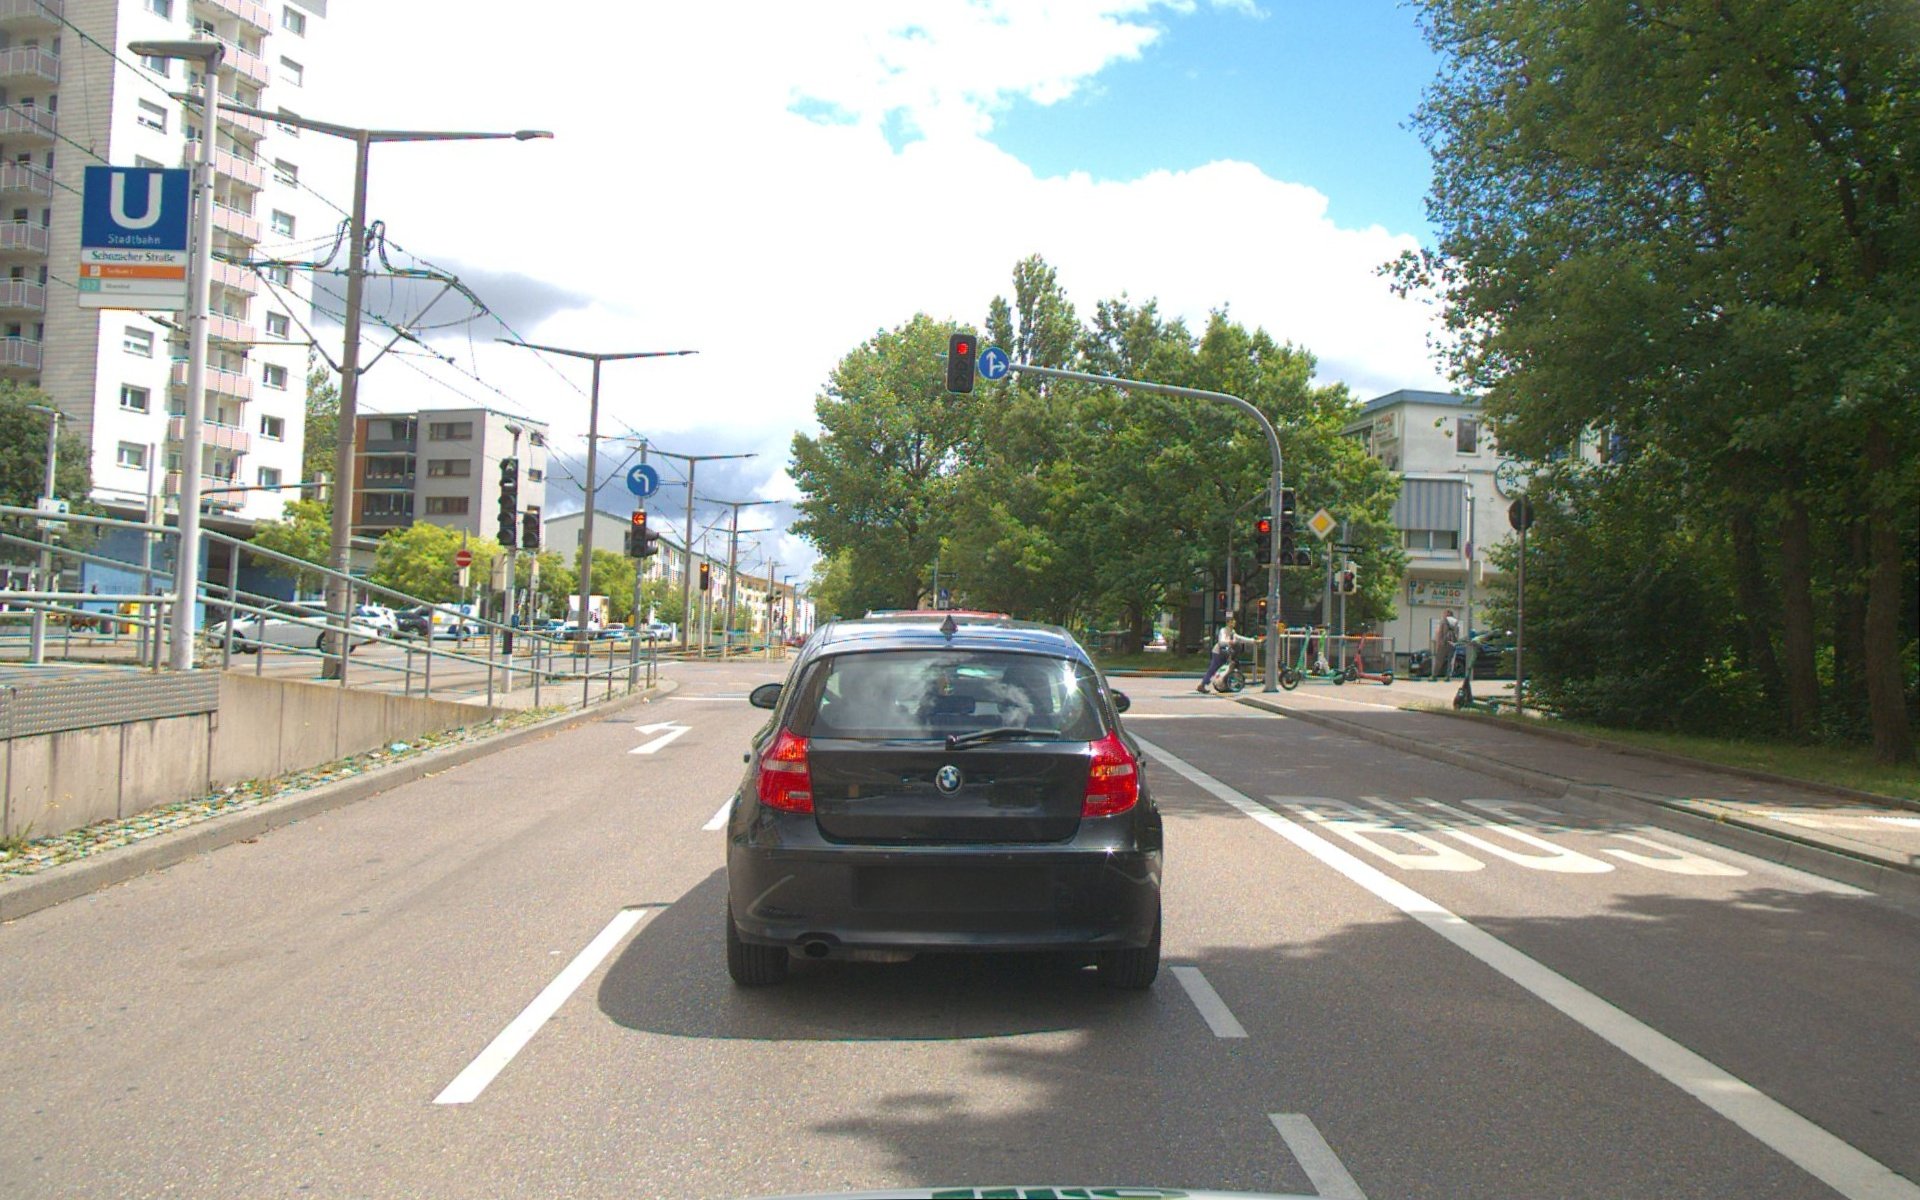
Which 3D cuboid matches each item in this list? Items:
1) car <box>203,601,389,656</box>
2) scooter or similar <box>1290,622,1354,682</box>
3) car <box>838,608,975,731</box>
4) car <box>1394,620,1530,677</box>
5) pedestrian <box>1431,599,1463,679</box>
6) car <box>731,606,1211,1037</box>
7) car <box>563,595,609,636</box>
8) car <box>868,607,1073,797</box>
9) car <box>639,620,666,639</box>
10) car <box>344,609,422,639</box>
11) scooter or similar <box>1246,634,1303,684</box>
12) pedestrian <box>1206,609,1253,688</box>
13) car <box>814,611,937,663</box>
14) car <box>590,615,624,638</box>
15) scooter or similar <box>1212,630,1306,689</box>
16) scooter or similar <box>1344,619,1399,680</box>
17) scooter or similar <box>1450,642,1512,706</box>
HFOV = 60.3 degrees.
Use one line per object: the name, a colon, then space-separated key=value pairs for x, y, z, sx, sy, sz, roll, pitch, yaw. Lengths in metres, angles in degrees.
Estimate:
car: x=-18.924 y=0.805 z=47.330 sx=4.551 sy=1.506 sz=1.997 roll=1 pitch=0 yaw=-7
scooter or similar: x=7.442 y=1.066 z=33.990 sx=1.267 sy=1.210 sz=0.383 roll=1 pitch=-1 yaw=-17
car: x=-0.709 y=0.838 z=21.545 sx=1.621 sy=1.443 sz=3.515 roll=1 pitch=0 yaw=-2
car: x=14.969 y=1.449 z=49.378 sx=3.515 sy=1.629 sz=1.706 roll=1 pitch=-1 yaw=-13
pedestrian: x=11.436 y=0.913 z=38.835 sx=0.600 sy=1.821 sz=0.569 roll=4 pitch=-1 yaw=18
car: x=0.069 y=0.760 z=7.412 sx=1.620 sy=1.443 sz=3.517 roll=1 pitch=0 yaw=1
car: x=-25.700 y=1.070 z=113.783 sx=2.096 sy=2.686 sz=5.356 roll=1 pitch=0 yaw=-2
car: x=0.083 y=0.796 z=14.541 sx=1.562 sy=1.443 sz=3.516 roll=1 pitch=0 yaw=0
car: x=-27.471 y=2.635 z=148.003 sx=1.928 sy=1.624 sz=3.996 roll=1 pitch=0 yaw=-4
car: x=-29.762 y=1.223 z=85.330 sx=3.537 sy=1.488 sz=1.613 roll=1 pitch=0 yaw=-9
scooter or similar: x=6.234 y=1.169 z=32.754 sx=1.102 sy=0.974 sz=0.299 roll=1 pitch=-1 yaw=-17
pedestrian: x=5.109 y=0.916 z=31.420 sx=0.846 sy=1.468 sz=0.799 roll=1 pitch=0 yaw=7
car: x=-2.547 y=1.107 z=49.575 sx=3.537 sy=1.488 sz=1.613 roll=1 pitch=0 yaw=-9
car: x=-27.210 y=2.032 z=127.487 sx=1.927 sy=1.624 sz=3.997 roll=1 pitch=0 yaw=-3
scooter or similar: x=5.603 y=1.113 z=31.007 sx=1.754 sy=1.069 sz=0.408 roll=2 pitch=0 yaw=-20
scooter or similar: x=8.670 y=1.041 z=34.862 sx=1.087 sy=1.280 sz=0.331 roll=1 pitch=-1 yaw=-13
scooter or similar: x=9.331 y=1.327 z=29.620 sx=1.133 sy=1.118 sz=0.329 roll=1 pitch=-1 yaw=-25
